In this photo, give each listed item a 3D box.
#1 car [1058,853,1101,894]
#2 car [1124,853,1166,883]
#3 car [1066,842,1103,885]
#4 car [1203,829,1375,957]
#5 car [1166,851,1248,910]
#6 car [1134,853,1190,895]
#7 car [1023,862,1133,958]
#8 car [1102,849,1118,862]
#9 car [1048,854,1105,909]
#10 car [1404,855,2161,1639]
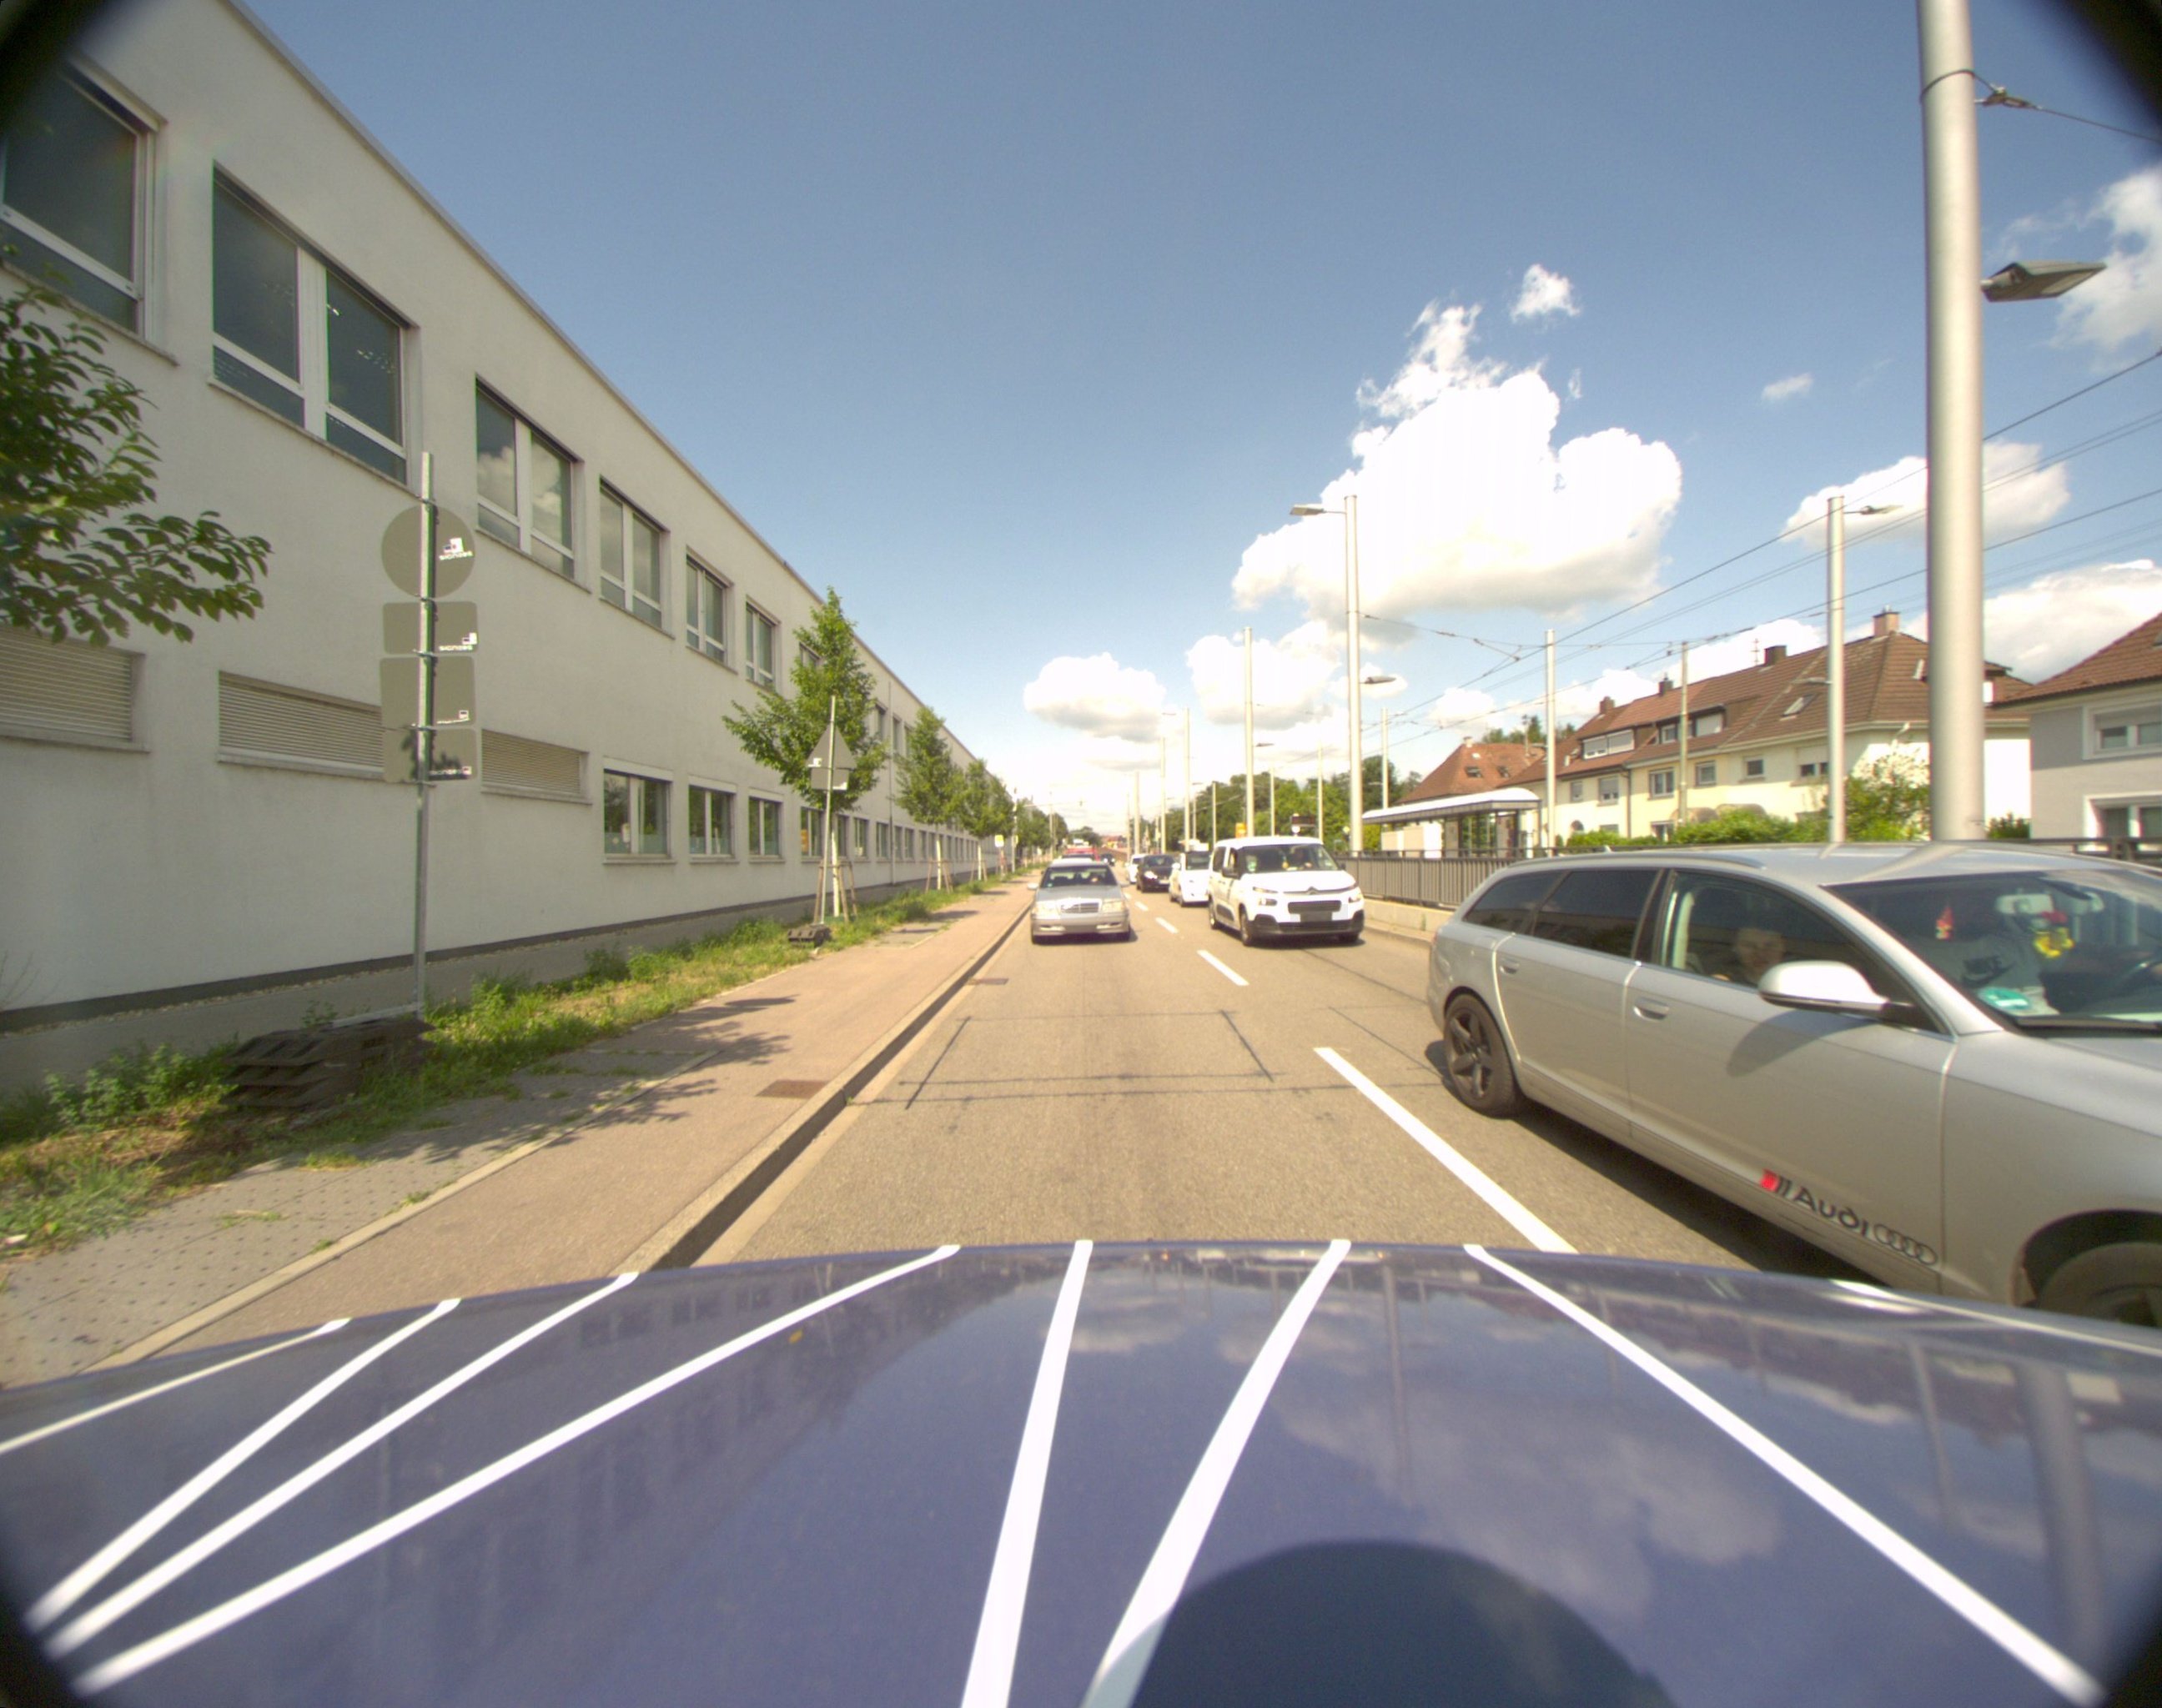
[{"bbox_3d":[-0.058,0.777,32.174,1.664,1.529,3.999,-2,1,0],"label":"car"},{"bbox_3d":[3.222,0.671,38.903,1.698,1.350,4.498,-2,1,0],"label":"car"},{"bbox_3d":[0.198,0.470,41.438,1.787,2.135,5.168,-2,1,0],"label":"car"},{"bbox_3d":[3.391,0.546,13.287,1.799,1.805,4.329,-2,1,0],"label":"car"},{"bbox_3d":[3.555,0.709,21.991,1.680,1.495,3.393,-2,0,-1],"label":"car"},{"bbox_3d":[3.118,0.732,29.773,1.680,1.414,3.557,-2,1,-1],"label":"car"},{"bbox_3d":[-0.043,0.940,14.571,1.725,1.389,4.462,-2,1,0],"label":"car"},{"bbox_3d":[3.372,0.185,89.526,1.698,1.350,4.498,-2,1,0],"label":"car"},{"bbox_3d":[-0.145,0.835,25.032,1.664,1.564,3.999,-2,1,0],"label":"car"},{"bbox_3d":[3.056,0.806,2.659,1.799,1.463,4.721,-2,1,0],"label":"car"}]
